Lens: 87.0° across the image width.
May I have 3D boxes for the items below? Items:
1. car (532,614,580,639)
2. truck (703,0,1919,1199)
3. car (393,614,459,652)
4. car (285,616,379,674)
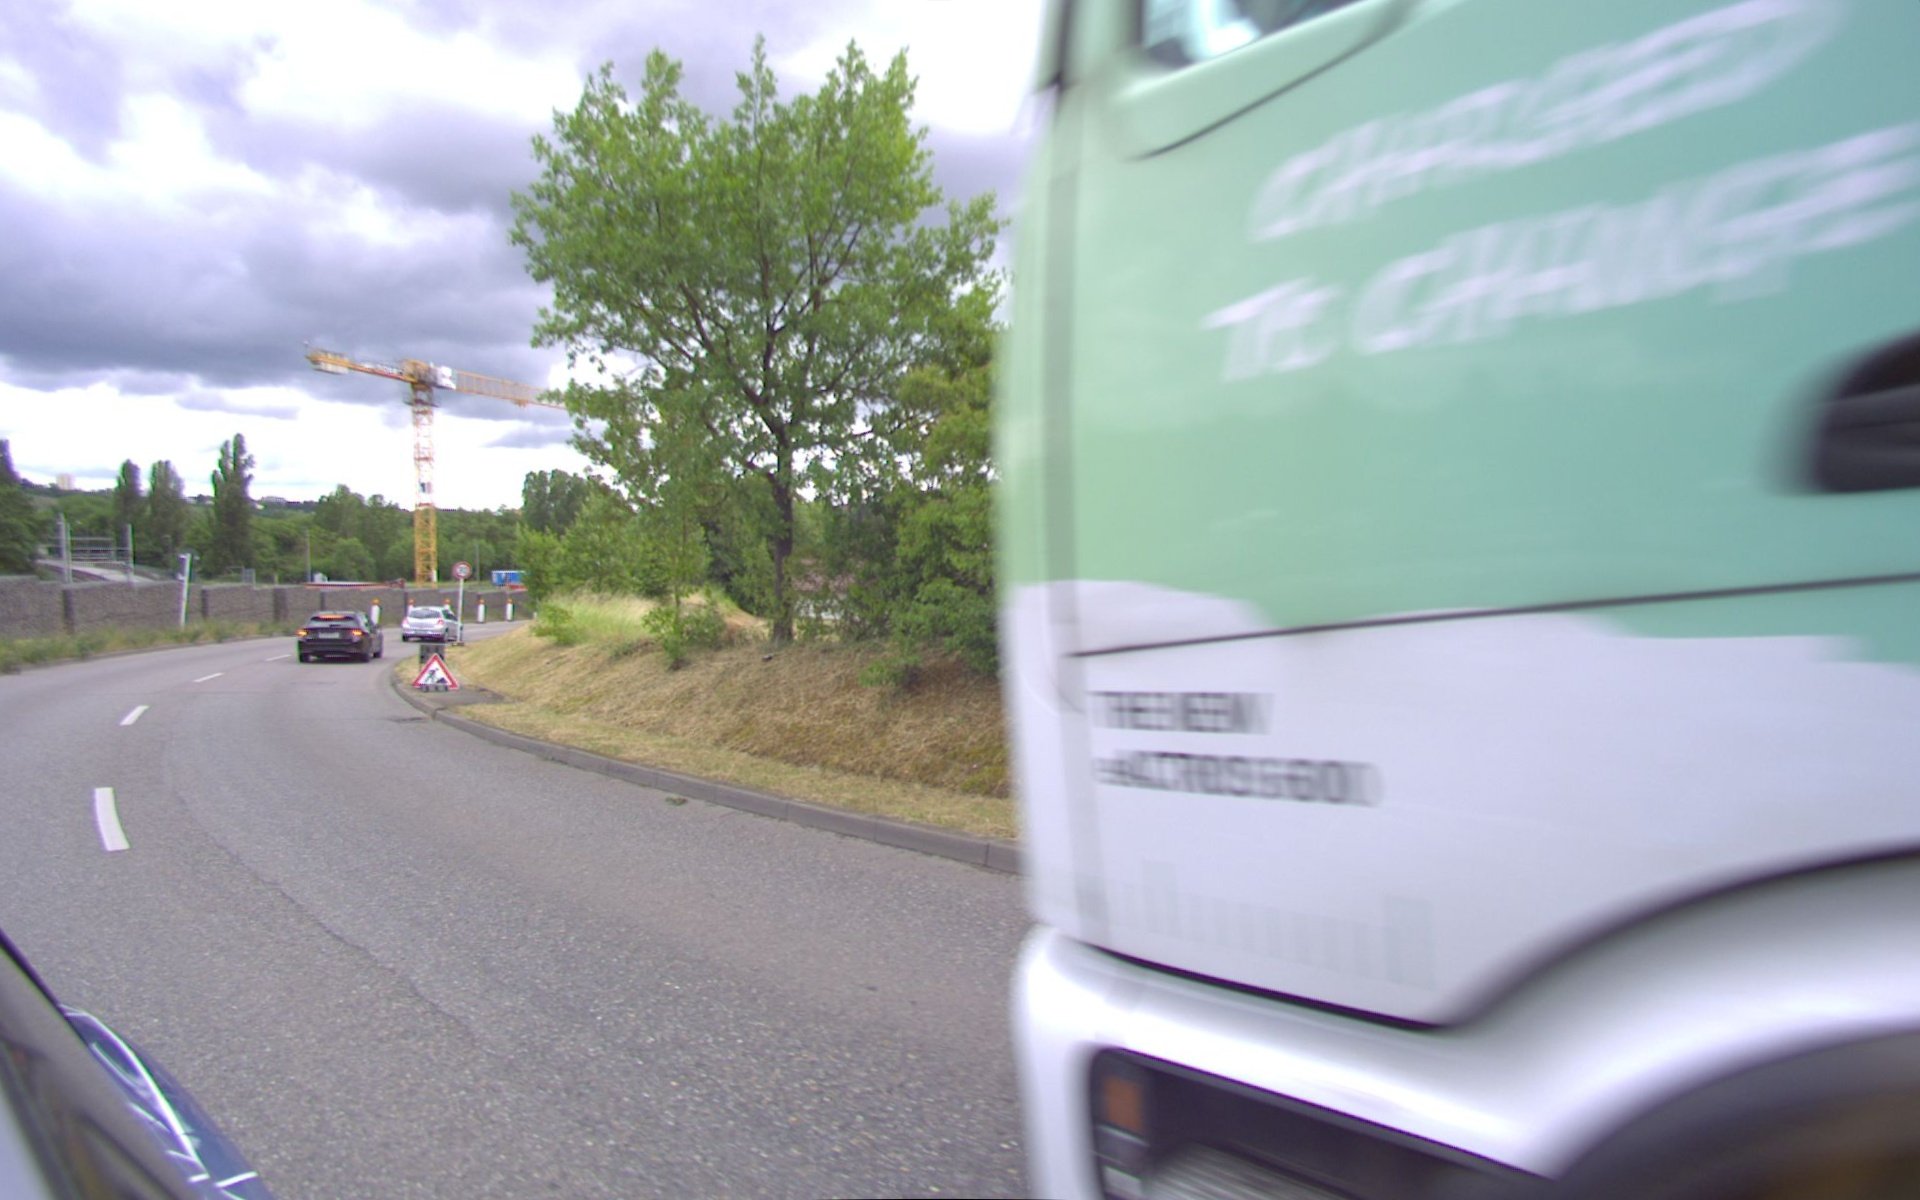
[{"bbox_3d":[-25.726,1.677,64.566,1.721,1.427,3.756,3,-1,-3],"label":"car"},{"bbox_3d":[3.070,-0.578,0.394,6.313,3.980,2.682,-2,-2,34],"label":"truck"},{"bbox_3d":[-22.984,1.405,43.657,1.750,1.506,3.925,2,-1,-17],"label":"car"},{"bbox_3d":[-18.460,1.274,29.930,1.712,1.506,4.449,2,-1,-24],"label":"car"}]
